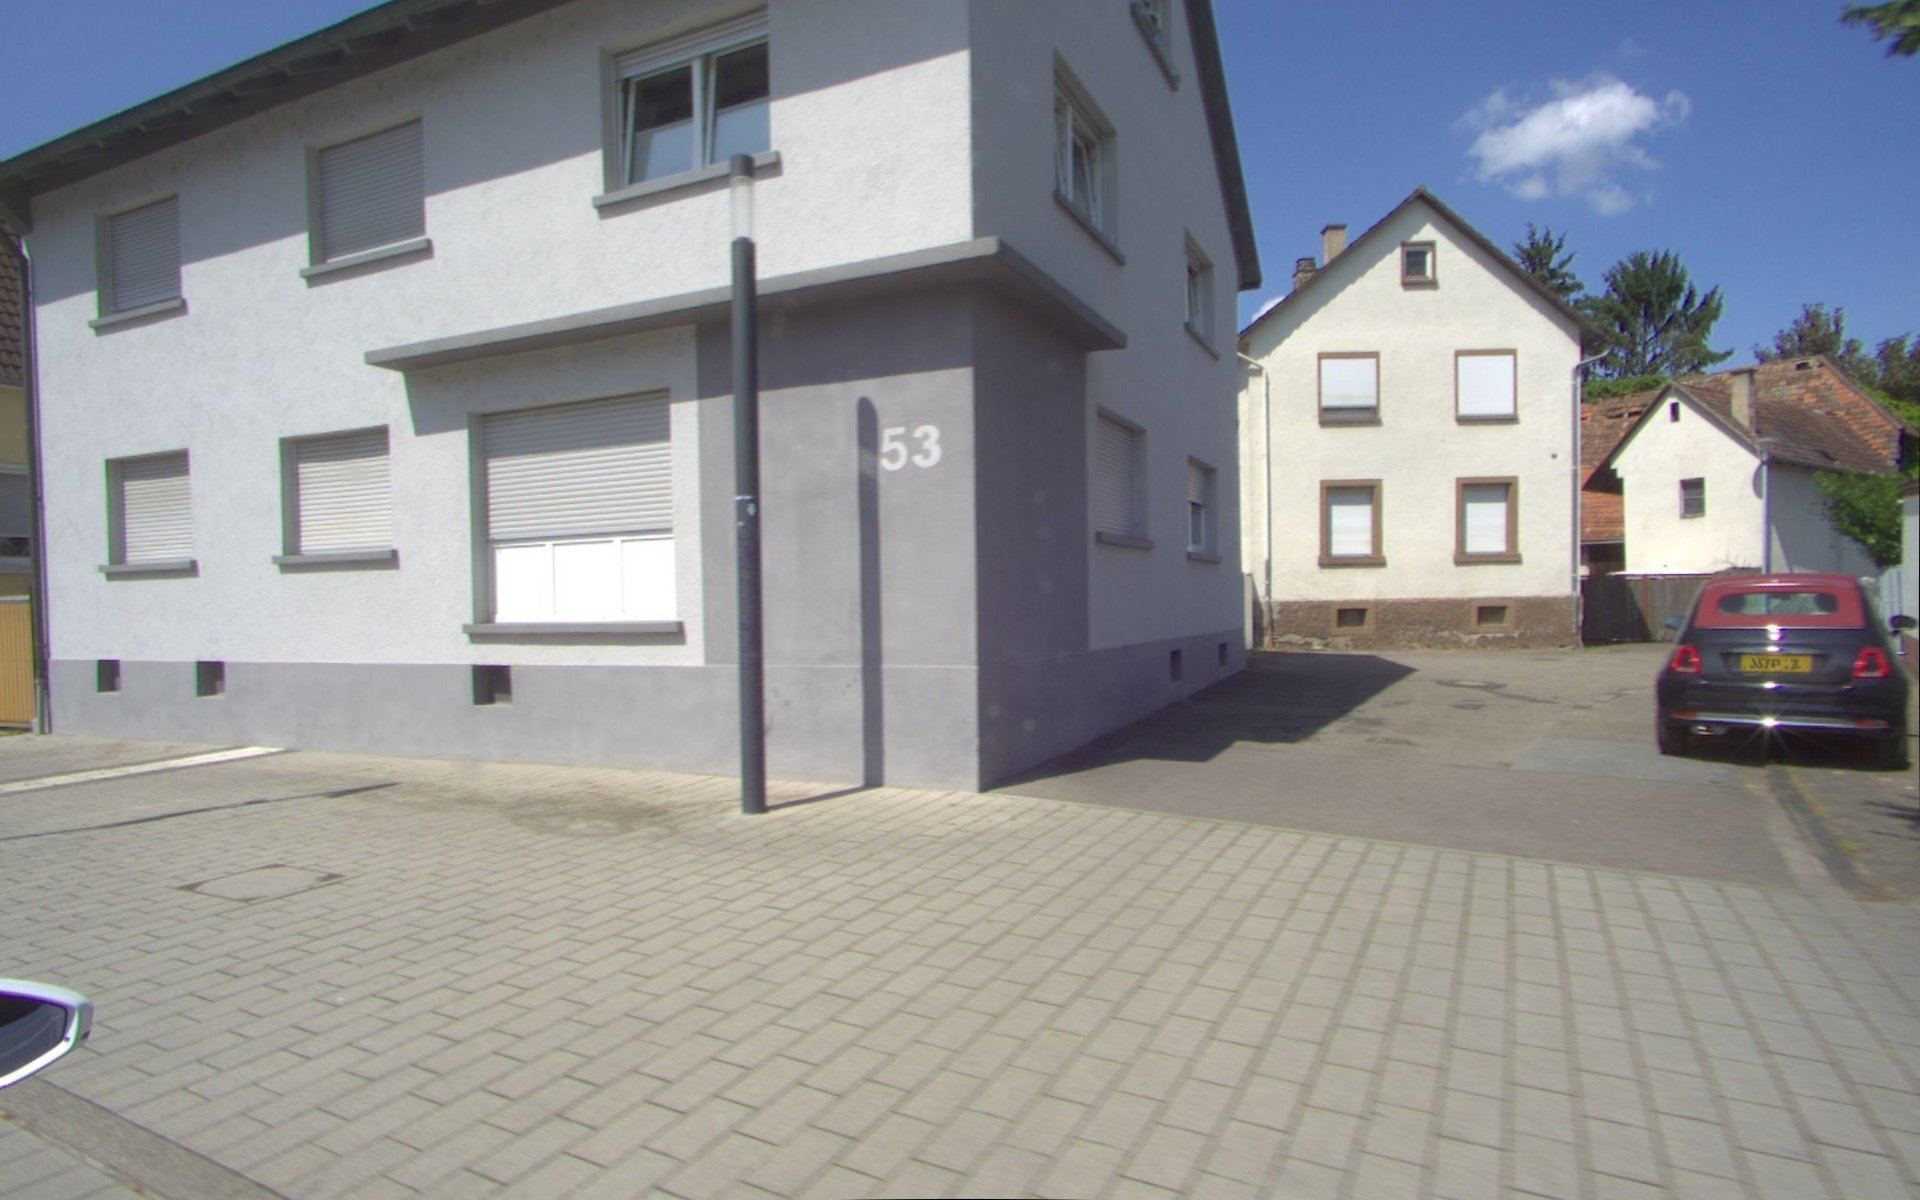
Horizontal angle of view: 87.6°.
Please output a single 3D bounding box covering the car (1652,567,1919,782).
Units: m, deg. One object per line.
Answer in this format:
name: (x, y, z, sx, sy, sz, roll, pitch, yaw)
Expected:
car: (7.474, 0.508, 9.106, 1.659, 1.539, 3.784, 0, 1, 39)
